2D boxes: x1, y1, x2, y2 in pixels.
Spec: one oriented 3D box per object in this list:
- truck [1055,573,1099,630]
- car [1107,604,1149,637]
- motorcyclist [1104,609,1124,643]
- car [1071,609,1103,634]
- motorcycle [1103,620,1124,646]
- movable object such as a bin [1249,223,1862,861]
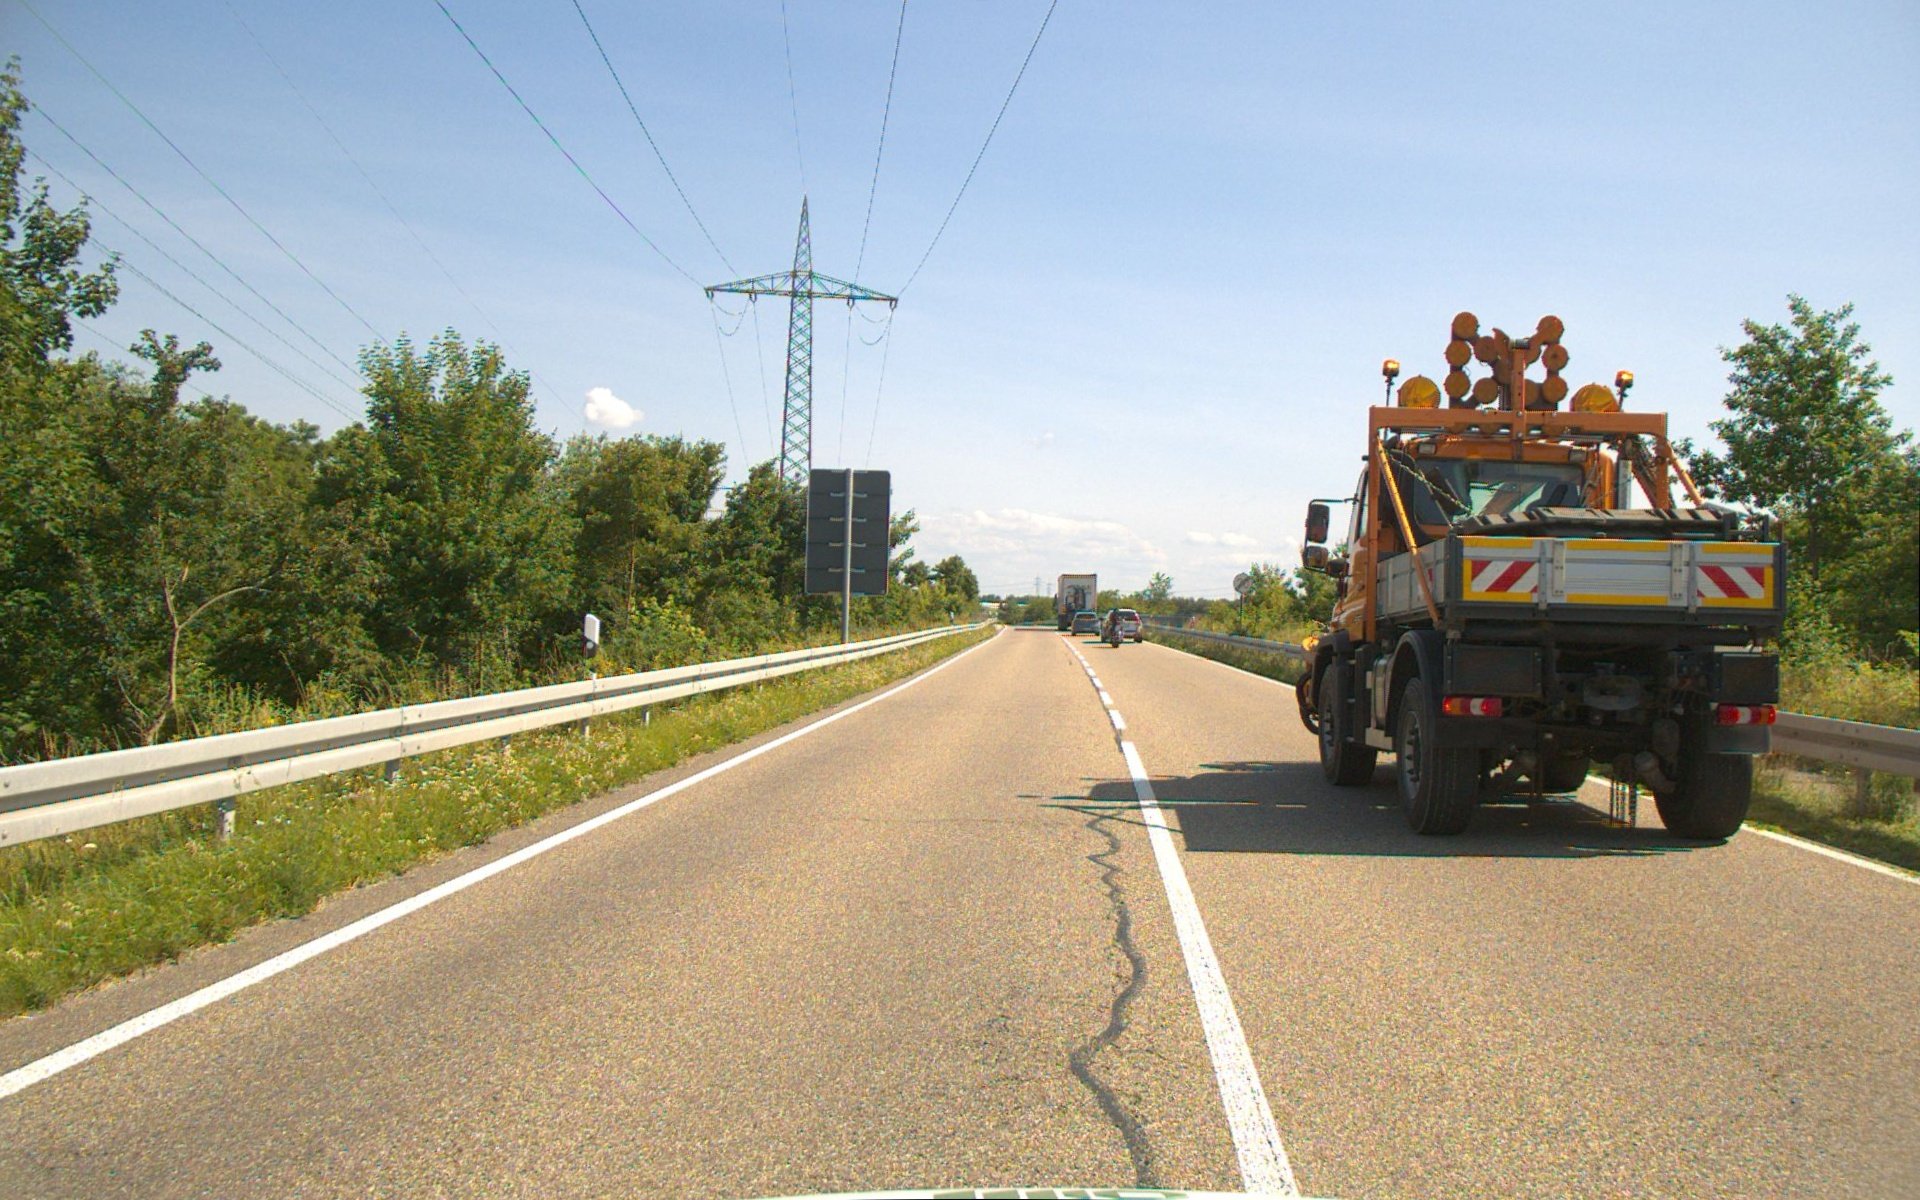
[{"bbox_3d":[8.783,0.179,124.495,3.174,4.048,9.447,1,-1,4],"label":"truck"},{"bbox_3d":[7.918,0.951,78.222,1.787,1.477,4.001,1,0,3],"label":"car"},{"bbox_3d":[6.208,1.041,66.656,0.764,1.349,0.813,1,0,4],"label":"motorcyclist"},{"bbox_3d":[7.766,1.282,101.480,1.827,1.445,4.002,1,0,3],"label":"car"},{"bbox_3d":[6.193,1.336,66.634,0.764,0.993,2.362,1,0,4],"label":"motorcycle"},{"bbox_3d":[4.488,-0.368,14.924,2.695,3.906,9.449,1,0,4],"label":"movable object such as a bin"}]
